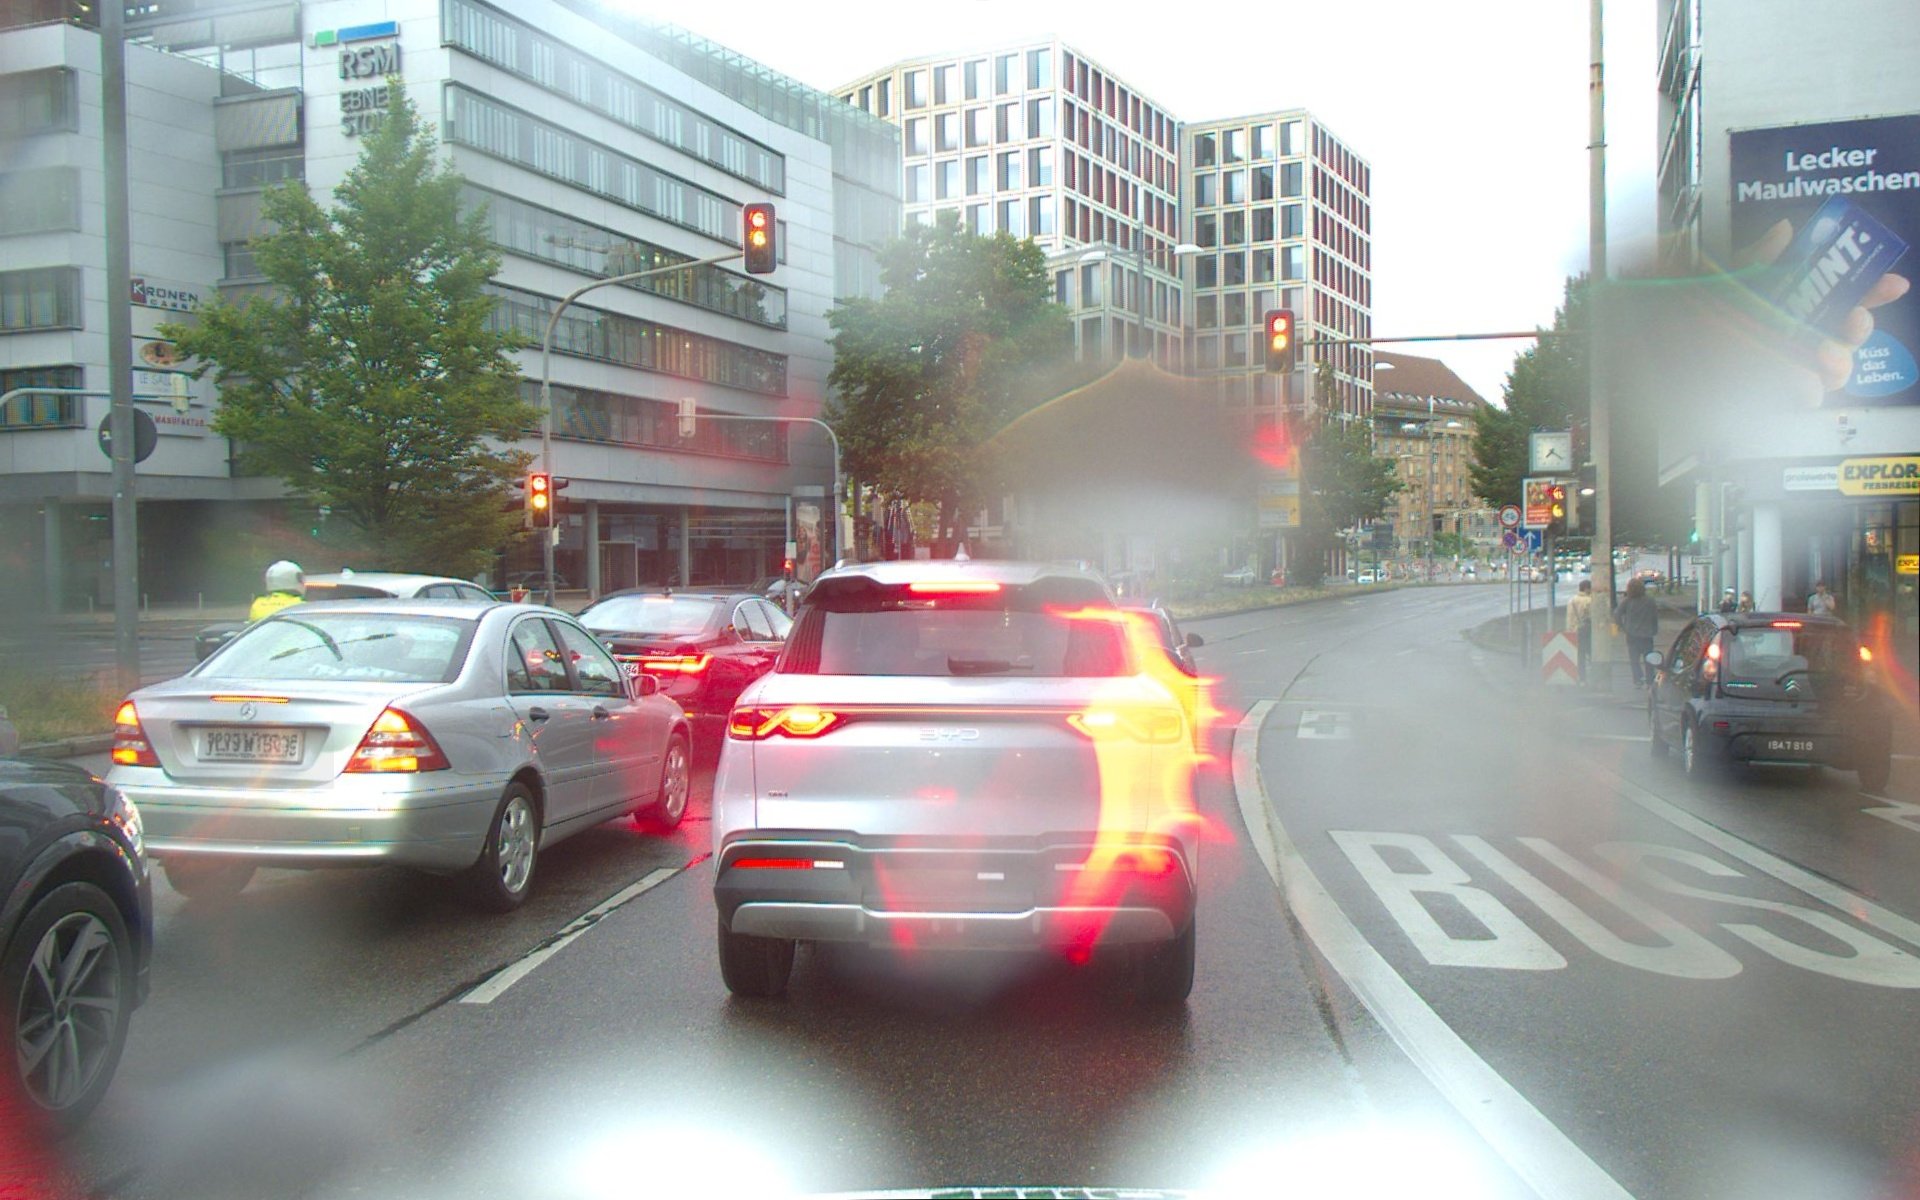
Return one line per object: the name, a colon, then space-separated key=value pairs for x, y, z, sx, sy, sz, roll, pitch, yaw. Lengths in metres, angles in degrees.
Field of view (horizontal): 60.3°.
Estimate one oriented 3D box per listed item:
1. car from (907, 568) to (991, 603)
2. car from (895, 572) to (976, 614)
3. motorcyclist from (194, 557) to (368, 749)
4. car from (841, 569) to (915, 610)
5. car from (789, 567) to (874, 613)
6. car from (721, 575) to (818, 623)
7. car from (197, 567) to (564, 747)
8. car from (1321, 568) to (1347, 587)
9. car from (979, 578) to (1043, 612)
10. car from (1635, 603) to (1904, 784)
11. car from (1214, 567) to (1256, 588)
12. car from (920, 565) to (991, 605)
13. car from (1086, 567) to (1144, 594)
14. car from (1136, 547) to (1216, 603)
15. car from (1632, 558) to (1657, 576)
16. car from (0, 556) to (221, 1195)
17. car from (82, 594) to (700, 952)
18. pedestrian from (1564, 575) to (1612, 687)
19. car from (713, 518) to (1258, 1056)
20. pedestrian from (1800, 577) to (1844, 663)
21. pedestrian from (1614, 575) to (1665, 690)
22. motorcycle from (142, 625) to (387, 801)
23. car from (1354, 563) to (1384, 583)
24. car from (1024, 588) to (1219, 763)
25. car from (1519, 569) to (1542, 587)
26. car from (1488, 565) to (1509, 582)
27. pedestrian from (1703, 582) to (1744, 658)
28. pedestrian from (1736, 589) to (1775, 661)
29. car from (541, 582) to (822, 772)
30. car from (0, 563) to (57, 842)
car: x=-0.454 y=-0.692 z=75.084 sx=1.778 sy=1.536 sz=5.192 roll=0 pitch=1 yaw=25
car: x=-0.830 y=-0.229 z=58.835 sx=1.655 sy=1.409 sz=3.870 roll=1 pitch=0 yaw=18
motorcyclist: x=-5.230 y=0.394 z=12.809 sx=0.753 sy=1.404 sz=1.119 roll=1 pitch=0 yaw=8
car: x=-3.393 y=-0.423 z=69.048 sx=1.605 sy=1.598 sz=3.716 roll=1 pitch=0 yaw=24
car: x=-4.497 y=-0.345 z=58.475 sx=1.609 sy=1.563 sz=4.155 roll=1 pitch=0 yaw=16
car: x=-6.966 y=-0.043 z=60.782 sx=1.952 sy=1.638 sz=4.001 roll=2 pitch=1 yaw=20
car: x=-5.462 y=0.491 z=16.174 sx=1.670 sy=1.512 sz=4.003 roll=1 pitch=0 yaw=9
car: x=37.128 y=-2.250 z=164.081 sx=1.577 sy=1.771 sz=3.437 roll=1 pitch=0 yaw=31
car: x=2.556 y=-0.274 z=81.368 sx=1.598 sy=1.586 sz=4.592 roll=0 pitch=1 yaw=23
car: x=7.480 y=0.779 z=15.640 sx=1.537 sy=1.454 sz=4.003 roll=1 pitch=0 yaw=15
car: x=20.490 y=-1.667 z=123.109 sx=1.955 sy=1.514 sz=3.996 roll=0 pitch=1 yaw=27
car: x=-0.149 y=-0.608 z=68.755 sx=1.610 sy=1.608 sz=4.086 roll=1 pitch=0 yaw=21
car: x=8.871 y=-1.123 z=94.454 sx=1.955 sy=1.514 sz=3.996 roll=0 pitch=1 yaw=27
car: x=8.564 y=-0.948 z=65.145 sx=1.953 sy=2.049 sz=4.848 roll=1 pitch=0 yaw=22
car: x=62.664 y=-2.998 z=151.348 sx=1.662 sy=1.512 sz=3.993 roll=1 pitch=0 yaw=29
car: x=-3.118 y=0.666 z=3.030 sx=1.614 sy=1.548 sz=4.271 roll=1 pitch=1 yaw=0
car: x=-2.666 y=0.712 z=8.828 sx=1.537 sy=1.432 sz=4.112 roll=1 pitch=0 yaw=5
pedestrian: x=10.459 y=0.495 z=27.564 sx=0.733 sy=1.829 sz=0.817 roll=0 pitch=1 yaw=20
car: x=0.127 y=0.610 z=7.347 sx=1.739 sy=1.708 sz=4.000 roll=1 pitch=0 yaw=1
pedestrian: x=18.621 y=0.420 z=35.710 sx=0.659 sy=1.825 sz=0.768 roll=1 pitch=0 yaw=43
pedestrian: x=11.019 y=0.509 z=26.833 sx=0.733 sy=1.829 sz=0.817 roll=0 pitch=1 yaw=20
motorcycle: x=-5.270 y=0.809 z=12.706 sx=0.783 sy=1.205 sz=2.030 roll=1 pitch=0 yaw=8
car: x=30.965 y=-2.029 z=125.141 sx=1.598 sy=1.462 sz=3.907 roll=0 pitch=1 yaw=23
car: x=1.736 y=0.674 z=16.642 sx=1.657 sy=1.512 sz=4.003 roll=1 pitch=0 yaw=10
car: x=52.734 y=-2.041 z=152.861 sx=1.849 sy=1.671 sz=4.000 roll=1 pitch=1 yaw=22
car: x=67.367 y=-3.344 z=206.805 sx=1.954 sy=2.049 sz=3.996 roll=1 pitch=0 yaw=26
pedestrian: x=17.117 y=0.449 z=37.099 sx=0.659 sy=1.684 sz=0.649 roll=1 pitch=0 yaw=43
pedestrian: x=17.613 y=0.538 z=36.627 sx=0.615 sy=1.570 sz=0.649 roll=1 pitch=0 yaw=43
car: x=-2.441 y=0.634 z=15.470 sx=1.537 sy=1.512 sz=4.003 roll=1 pitch=0 yaw=6
car: x=-6.340 y=0.576 z=7.420 sx=1.826 sy=1.560 sz=4.778 roll=1 pitch=1 yaw=2
